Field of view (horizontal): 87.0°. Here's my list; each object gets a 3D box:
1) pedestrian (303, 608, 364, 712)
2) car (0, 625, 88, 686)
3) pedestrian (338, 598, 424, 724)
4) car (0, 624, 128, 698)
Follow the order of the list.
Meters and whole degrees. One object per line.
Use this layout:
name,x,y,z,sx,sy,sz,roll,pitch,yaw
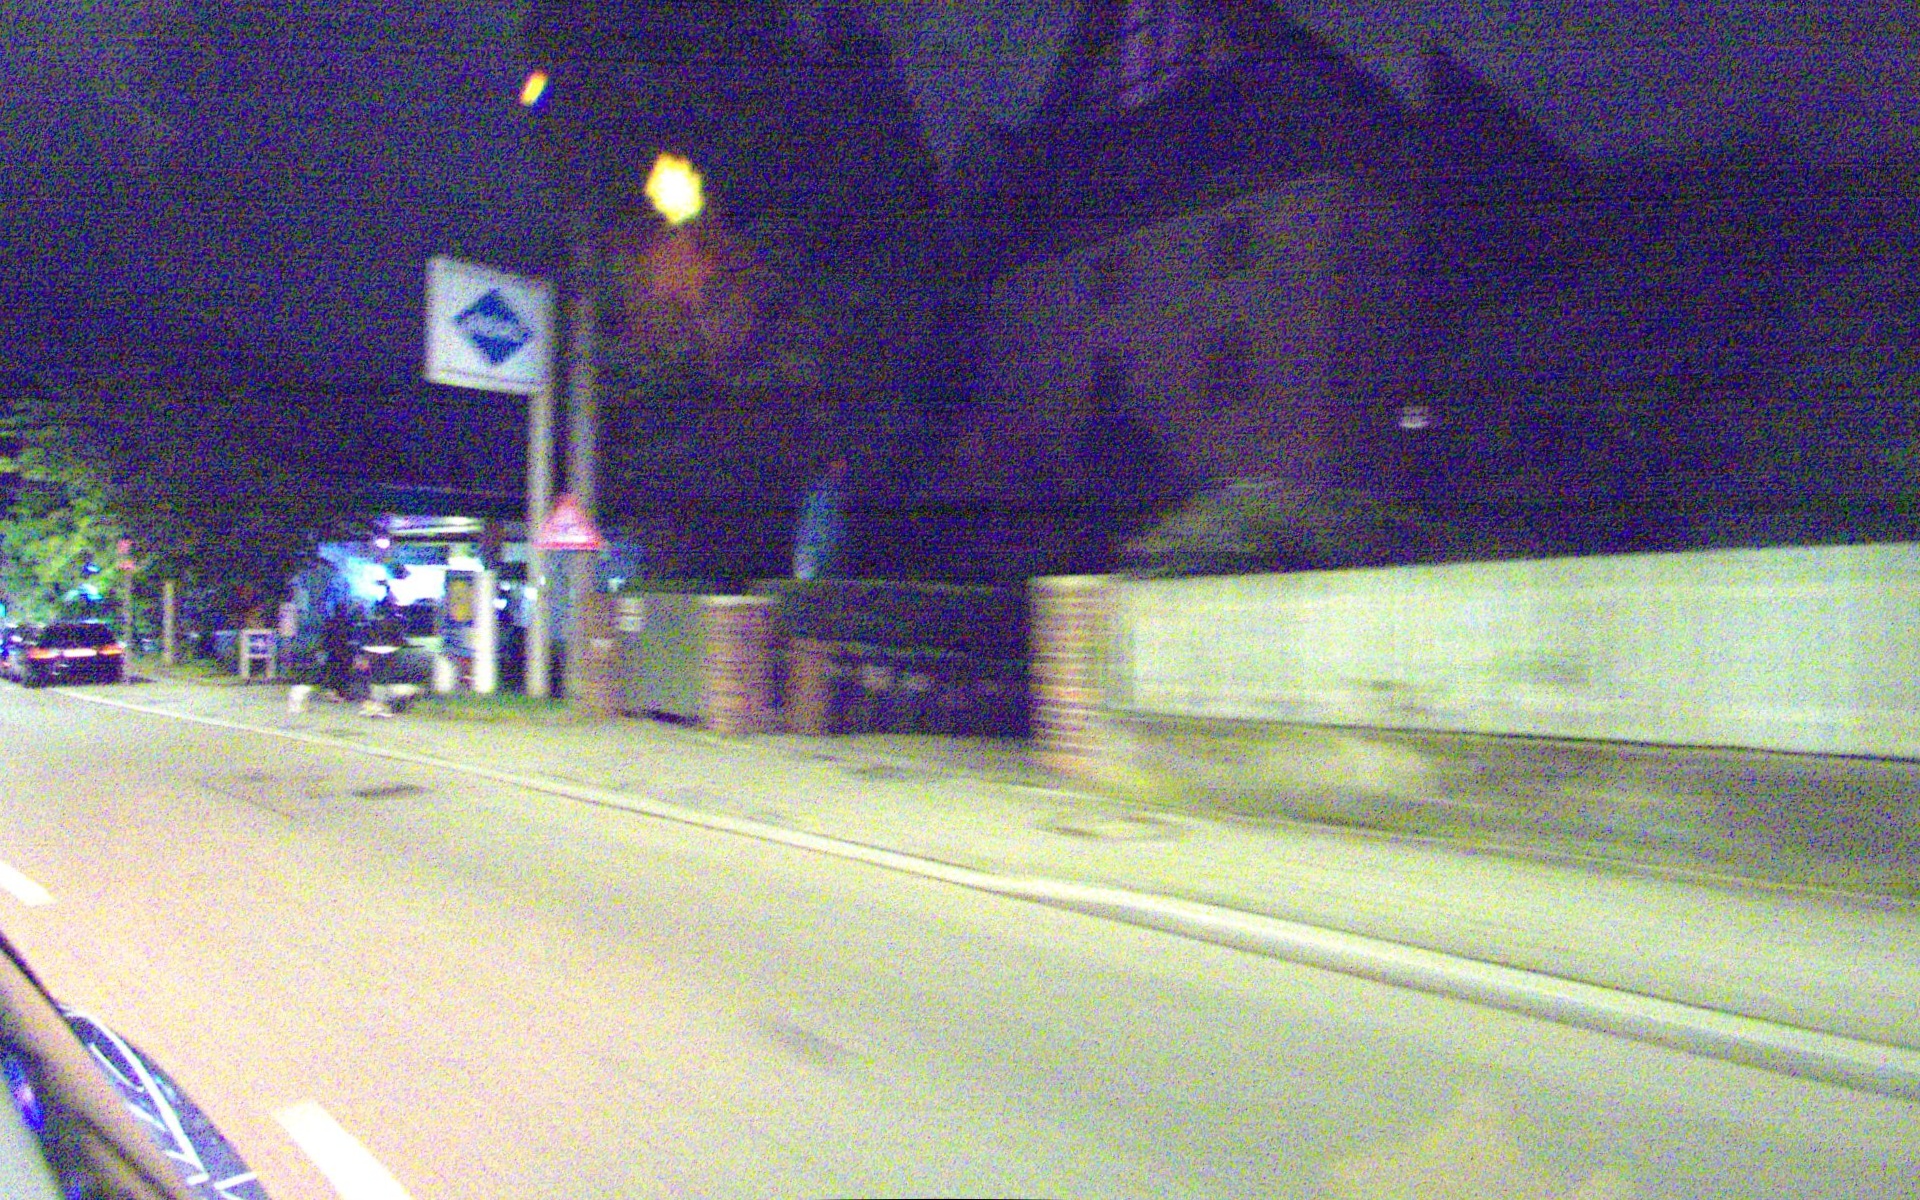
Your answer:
pedestrian,-10.770,1.011,17.398,0.866,1.739,0.662,-2,-1,40
car,-25.664,1.492,27.976,3.896,1.477,1.840,-2,1,42
pedestrian,-8.132,0.828,14.204,1.103,1.684,0.734,-1,0,42
car,-21.757,1.403,24.452,4.587,1.544,1.840,-2,1,42
